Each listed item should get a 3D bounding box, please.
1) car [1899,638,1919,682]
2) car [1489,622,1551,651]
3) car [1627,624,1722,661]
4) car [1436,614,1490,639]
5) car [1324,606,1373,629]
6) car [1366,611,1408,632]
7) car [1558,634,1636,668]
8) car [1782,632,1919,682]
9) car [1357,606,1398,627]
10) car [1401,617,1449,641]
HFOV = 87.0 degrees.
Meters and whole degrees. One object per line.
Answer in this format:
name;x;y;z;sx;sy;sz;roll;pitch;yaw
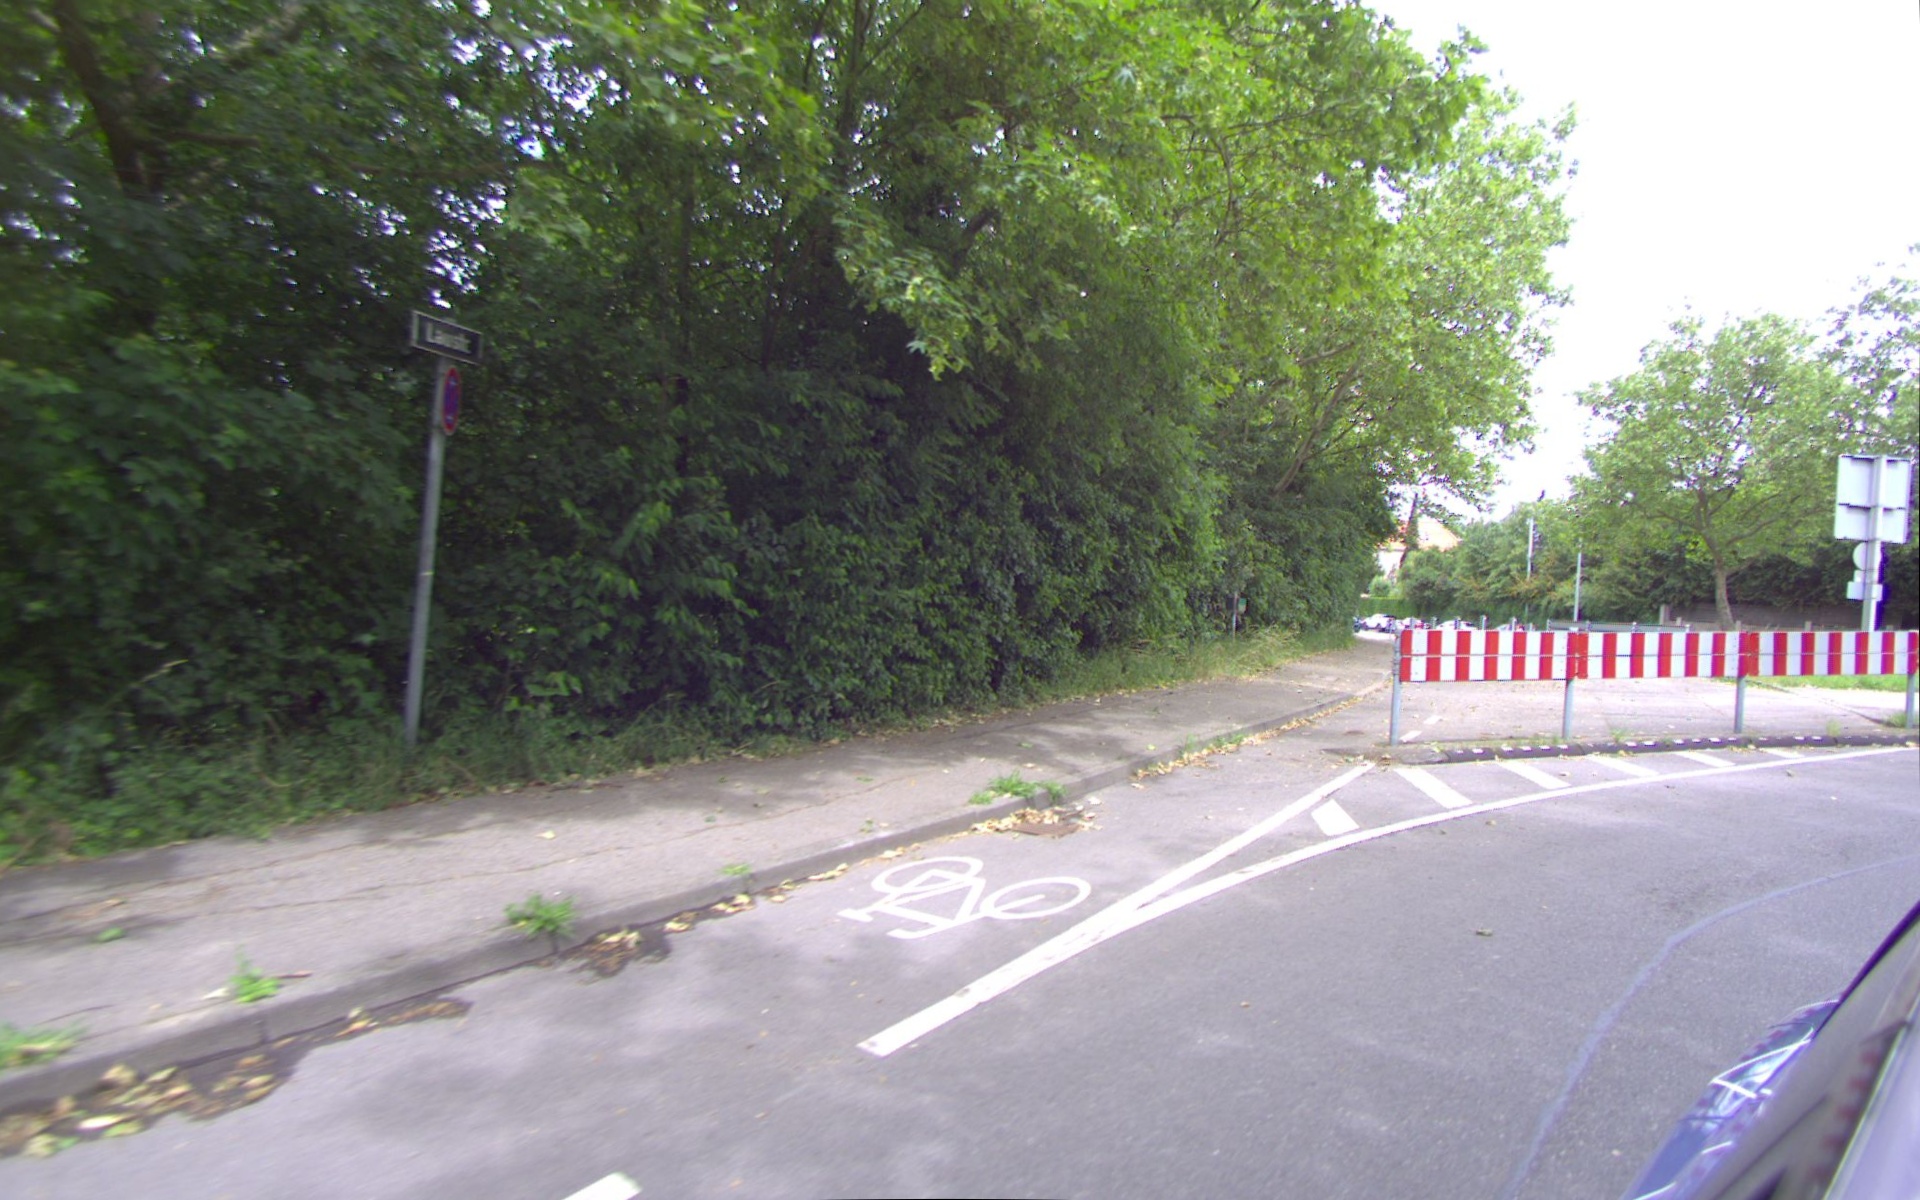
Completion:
car;37.410;2.400;36.916;1.762;1.635;4.467;6;0;-5
car;36.222;2.330;65.542;1.654;1.523;3.833;6;0;-3
car;36.820;2.146;52.291;1.763;1.523;4.041;6;0;-3
car;35.888;1.873;72.267;1.654;1.523;3.833;6;0;-3
car;28.128;1.252;73.421;1.763;1.446;4.148;6;0;-2
car;35.396;1.761;83.968;1.654;1.523;3.833;6;0;-3
car;36.404;2.882;57.960;1.763;1.623;4.039;4;0;-1
car;37.235;2.336;42.444;1.763;1.635;4.220;6;0;-3
car;35.769;1.389;86.751;1.654;1.523;3.833;6;0;-3
car;35.638;2.220;77.648;1.654;1.523;3.833;6;0;-3
